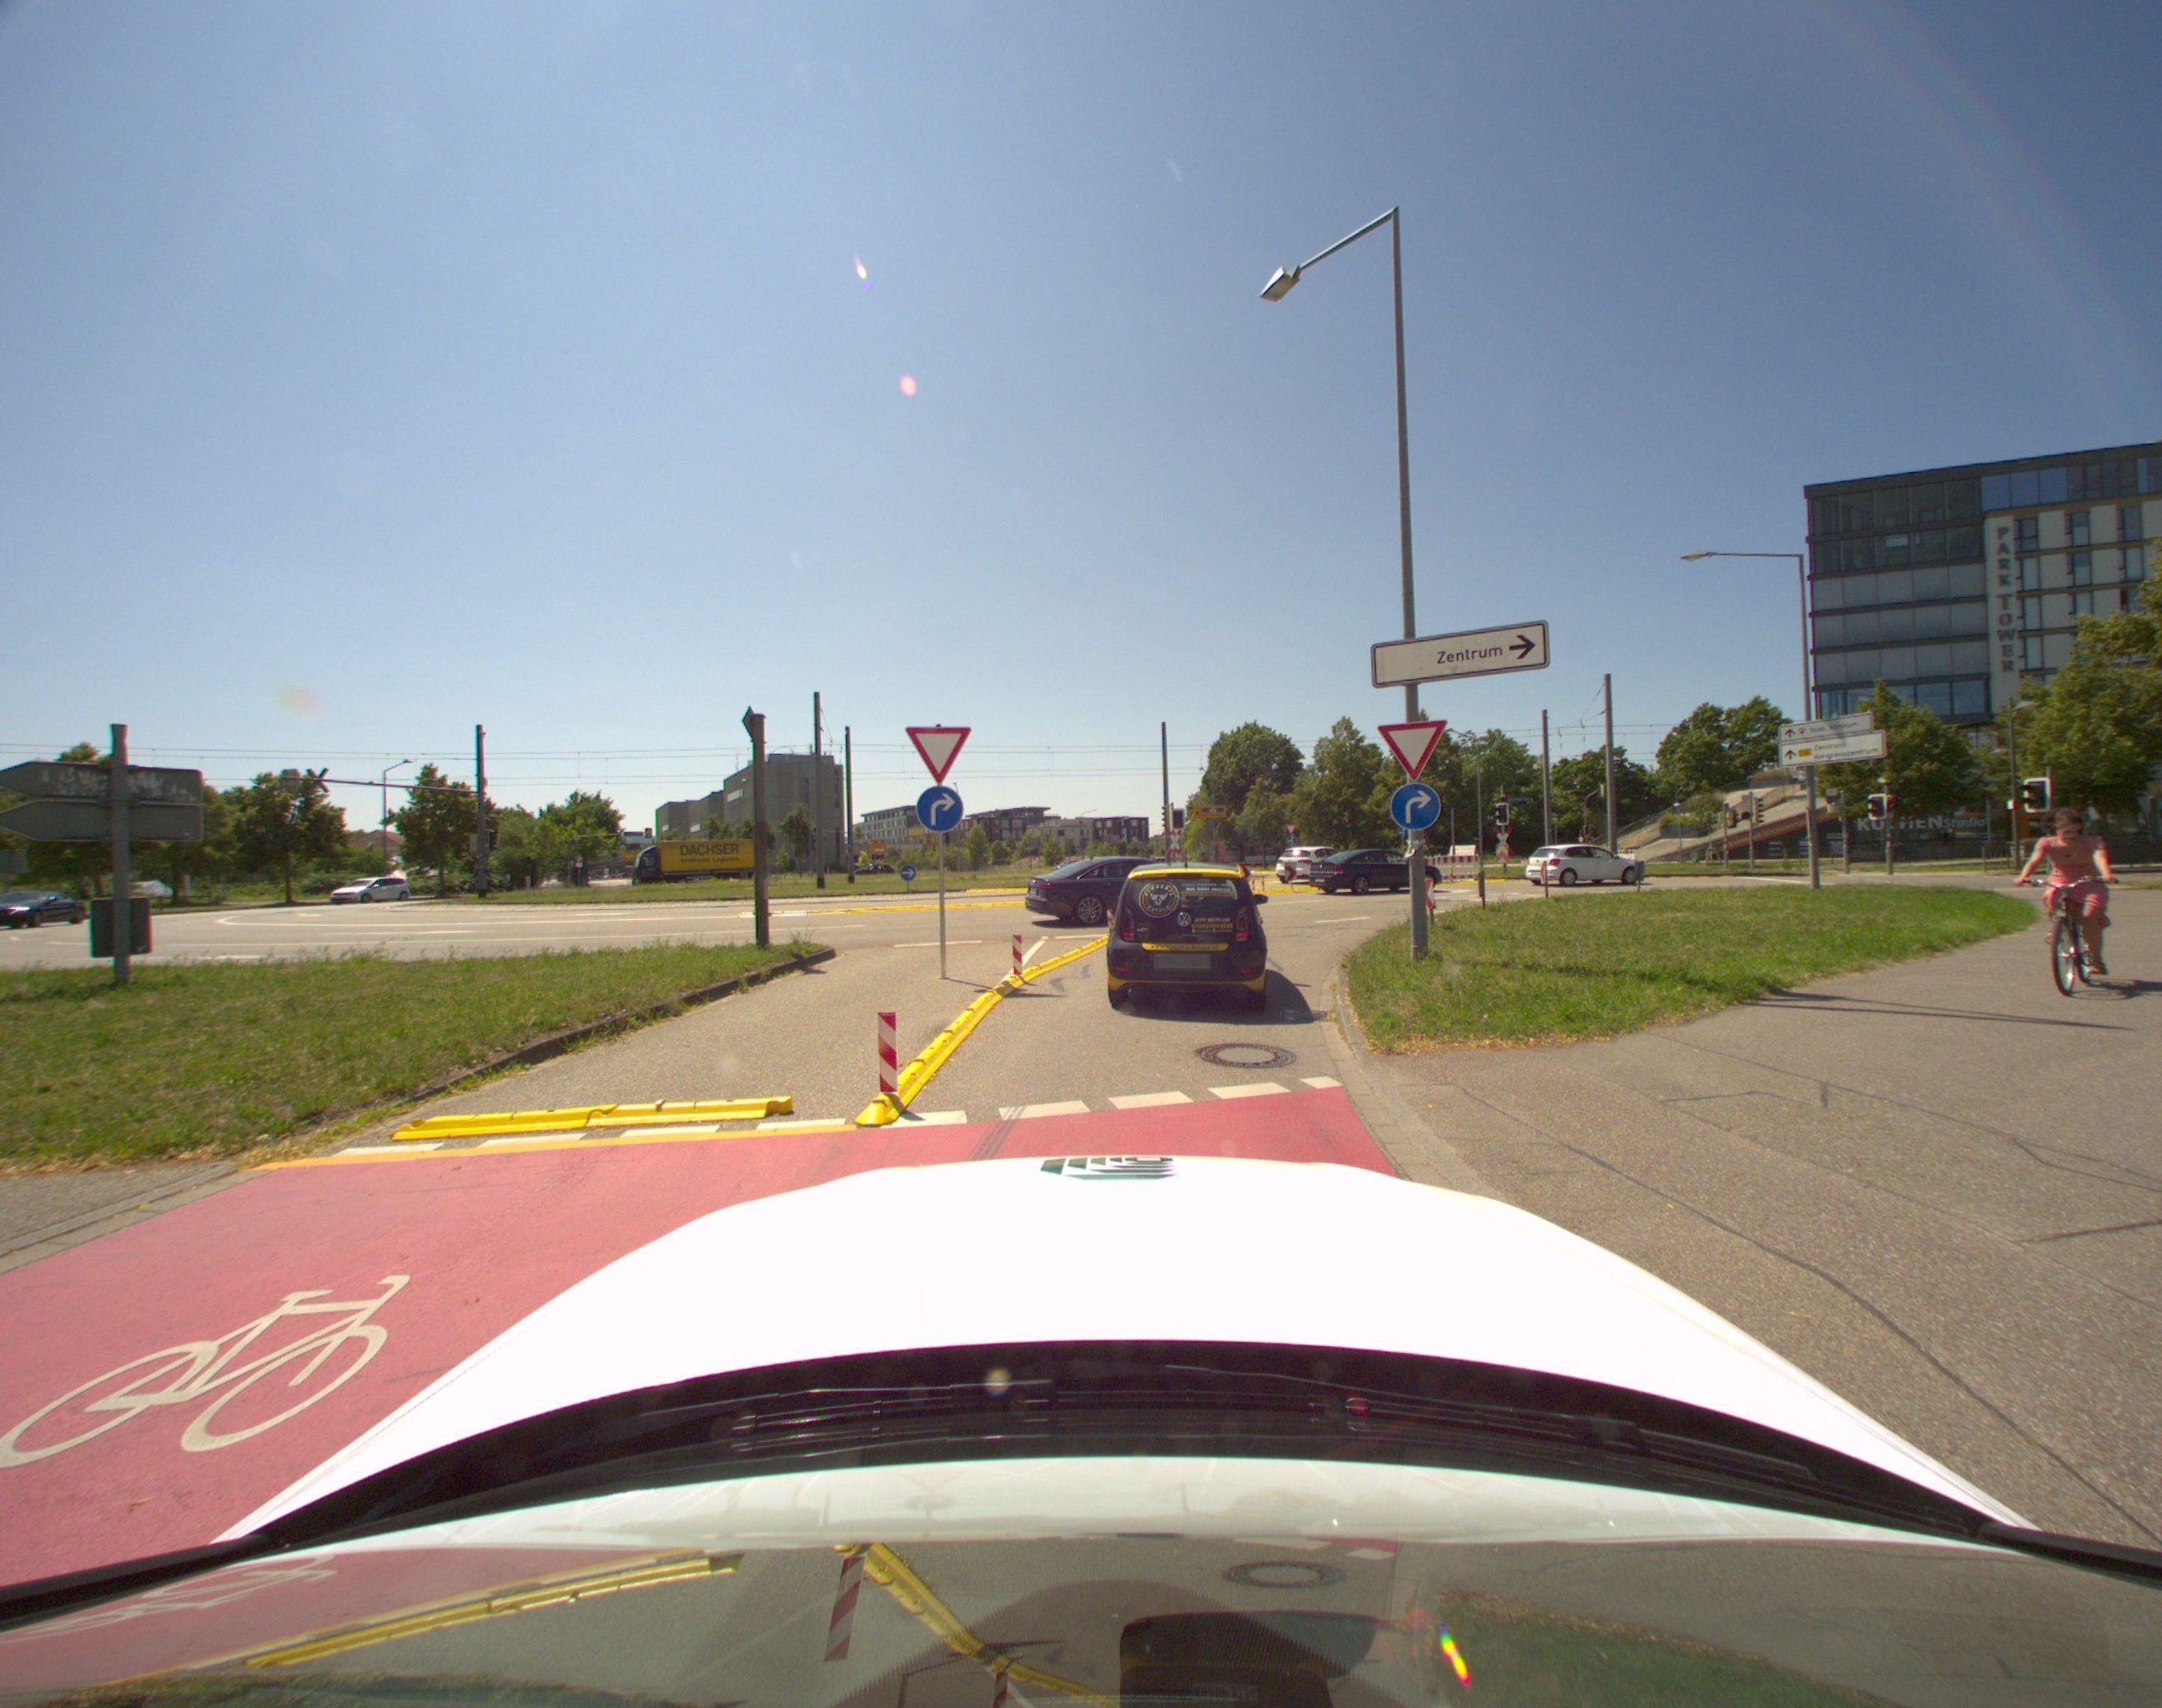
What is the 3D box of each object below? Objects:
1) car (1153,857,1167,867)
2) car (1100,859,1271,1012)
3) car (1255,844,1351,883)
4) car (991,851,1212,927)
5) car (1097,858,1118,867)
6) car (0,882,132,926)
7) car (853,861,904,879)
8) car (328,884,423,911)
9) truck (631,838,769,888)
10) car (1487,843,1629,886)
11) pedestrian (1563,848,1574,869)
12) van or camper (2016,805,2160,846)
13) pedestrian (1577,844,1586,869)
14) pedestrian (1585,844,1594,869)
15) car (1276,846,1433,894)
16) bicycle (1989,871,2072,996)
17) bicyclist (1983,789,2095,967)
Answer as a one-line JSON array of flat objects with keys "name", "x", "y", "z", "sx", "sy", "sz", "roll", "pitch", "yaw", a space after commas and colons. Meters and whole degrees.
[{"name": "car", "x": 10.885, "y": 1.059, "z": 112.118, "sx": 1.647, "sy": 1.372, "sz": 3.041, "roll": -2, "pitch": 0, "yaw": 11}, {"name": "car", "x": 1.153, "y": 0.800, "z": 9.814, "sx": 1.611, "sy": 1.451, "sz": 3.991, "roll": -1, "pitch": 0, "yaw": 4}, {"name": "car", "x": 9.300, "y": 0.358, "z": 33.937, "sx": 1.975, "sy": 1.486, "sz": 4.393, "roll": -2, "pitch": 0, "yaw": 44}, {"name": "car", "x": 0.431, "y": 0.723, "z": 18.507, "sx": 4.646, "sy": 1.448, "sz": 1.989, "roll": -1, "pitch": 1, "yaw": -17}, {"name": "car", "x": 3.463, "y": 1.116, "z": 104.720, "sx": 1.479, "sy": 1.089, "sz": 3.540, "roll": -2, "pitch": 0, "yaw": 24}, {"name": "car", "x": -39.543, "y": 1.886, "z": 31.282, "sx": 1.858, "sy": 1.436, "sz": 4.920, "roll": -1, "pitch": 0, "yaw": -21}, {"name": "car", "x": -18.033, "y": 1.379, "z": 72.563, "sx": 4.058, "sy": 1.461, "sz": 1.714, "roll": -1, "pitch": 0, "yaw": -27}, {"name": "car", "x": -45.280, "y": 2.768, "z": 52.438, "sx": 1.816, "sy": 1.454, "sz": 5.019, "roll": -1, "pitch": 0, "yaw": -2}, {"name": "truck", "x": -30.450, "y": 0.648, "z": 65.485, "sx": 9.667, "sy": 3.659, "sz": 2.675, "roll": -1, "pitch": 0, "yaw": -41}, {"name": "car", "x": 17.116, "y": 0.366, "z": 29.305, "sx": 4.342, "sy": 1.449, "sz": 1.848, "roll": 0, "pitch": 0, "yaw": -13}, {"name": "pedestrian", "x": 33.307, "y": 0.294, "z": 55.629, "sx": 0.516, "sy": 1.429, "sz": 0.353, "roll": -2, "pitch": -1, "yaw": 11}, {"name": "van or camper", "x": 74.480, "y": -2.078, "z": 60.372, "sx": 6.719, "sy": 2.822, "sz": 2.391, "roll": -1, "pitch": 0, "yaw": 12}, {"name": "pedestrian", "x": 34.428, "y": 0.171, "z": 56.039, "sx": 0.444, "sy": 1.739, "sz": 0.292, "roll": -1, "pitch": 0, "yaw": 14}, {"name": "pedestrian", "x": 34.947, "y": 0.168, "z": 55.955, "sx": 0.444, "sy": 1.739, "sz": 0.319, "roll": -1, "pitch": 0, "yaw": 14}, {"name": "car", "x": 9.030, "y": 0.491, "z": 26.866, "sx": 4.761, "sy": 1.449, "sz": 1.986, "roll": 0, "pitch": 0, "yaw": -22}, {"name": "bicycle", "x": 9.491, "y": 0.730, "z": 8.121, "sx": 2.098, "sy": 1.058, "sz": 0.434, "roll": -1, "pitch": -2, "yaw": -39}, {"name": "bicyclist", "x": 9.537, "y": 0.229, "z": 8.111, "sx": 0.713, "sy": 1.664, "sz": 0.638, "roll": -1, "pitch": -2, "yaw": -39}]
